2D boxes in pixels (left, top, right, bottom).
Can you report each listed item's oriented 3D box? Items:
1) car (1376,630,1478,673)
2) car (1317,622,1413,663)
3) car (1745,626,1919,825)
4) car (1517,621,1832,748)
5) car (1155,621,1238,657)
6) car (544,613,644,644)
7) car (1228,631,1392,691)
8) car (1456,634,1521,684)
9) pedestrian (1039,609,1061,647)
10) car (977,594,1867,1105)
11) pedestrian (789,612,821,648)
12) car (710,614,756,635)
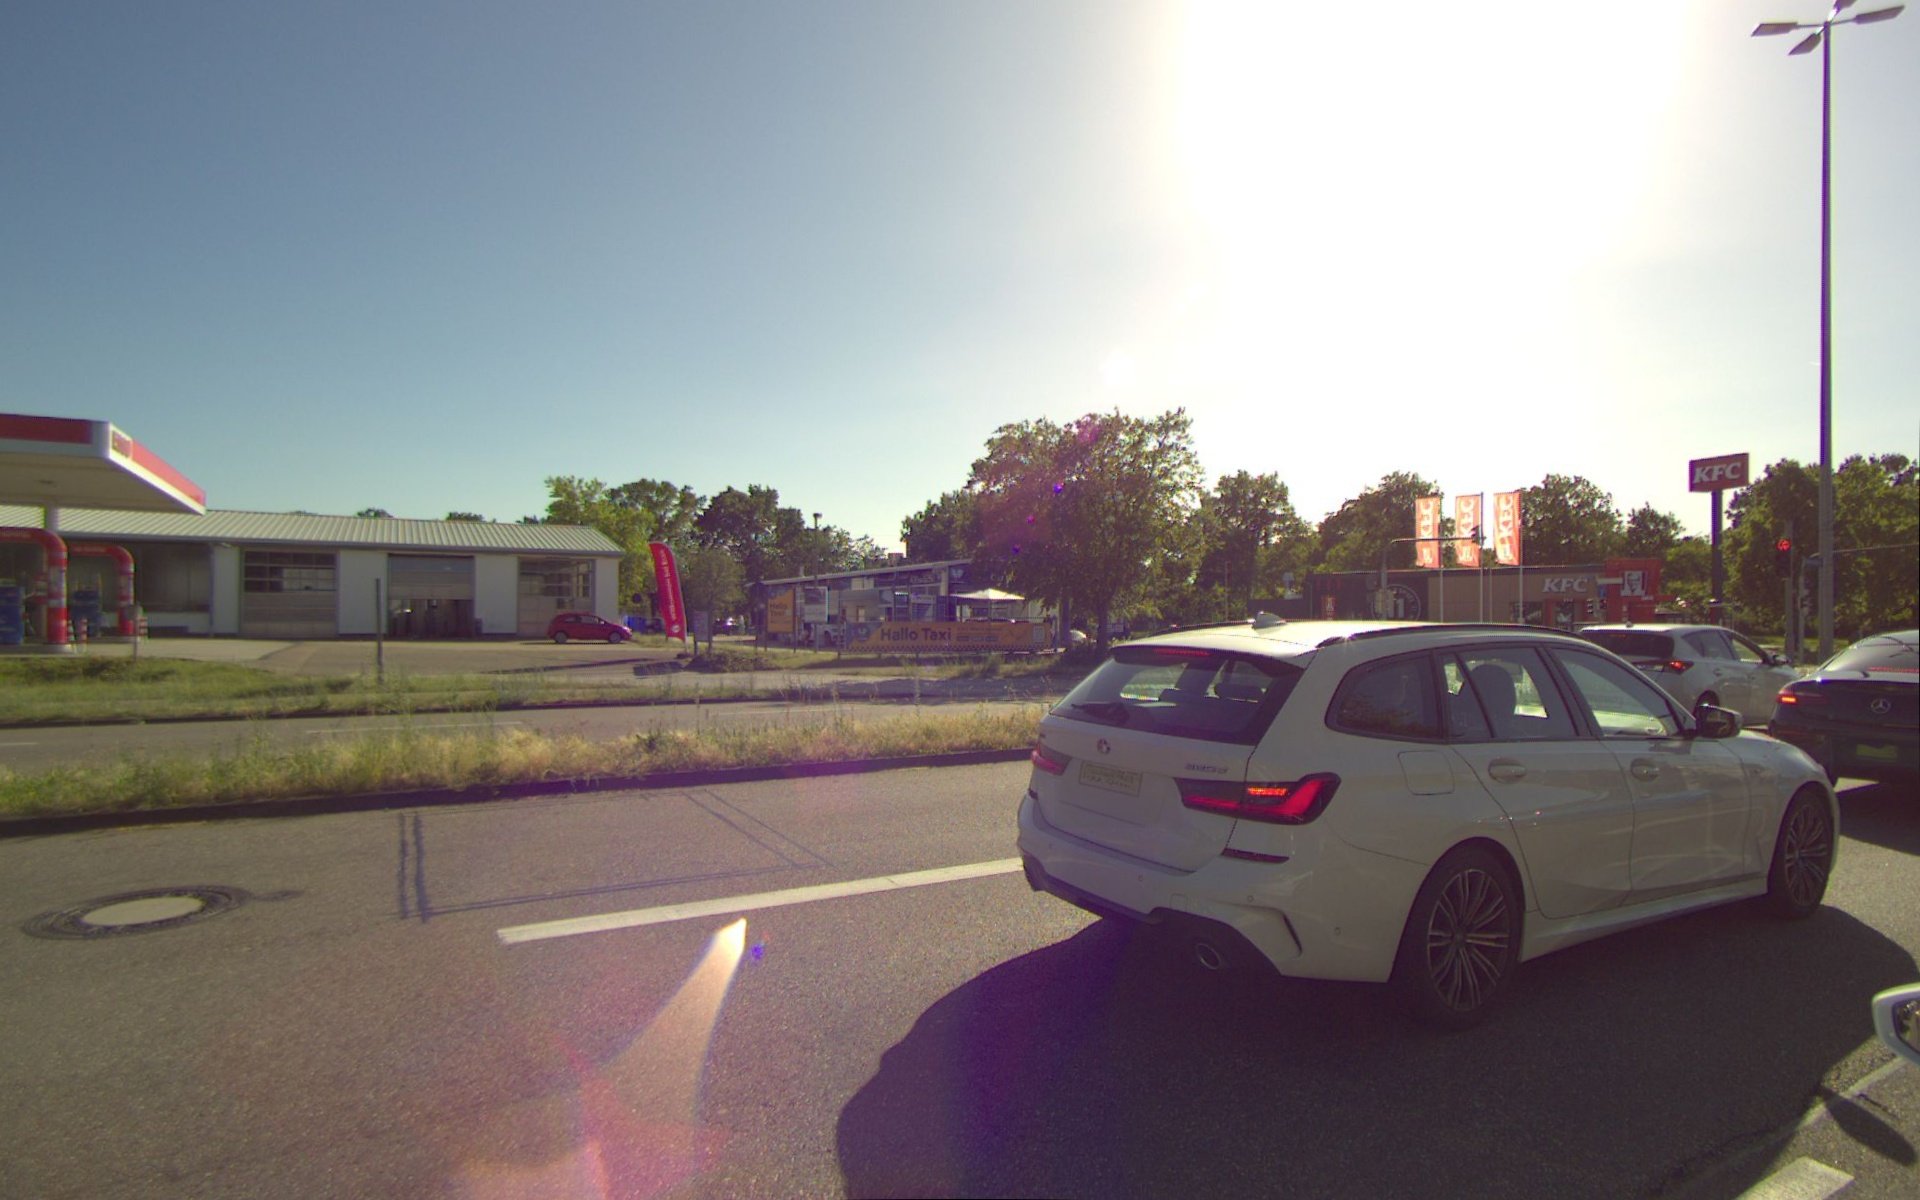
[{"bbox_3d":[21.570,2.357,46.580,1.970,1.817,4.068,1,-1,-21],"label":"car"},{"bbox_3d":[18.570,1.909,46.179,1.735,1.751,3.974,1,-1,-26],"label":"car"},{"bbox_3d":[8.793,0.960,8.621,4.409,1.433,1.760,1,-1,-30],"label":"car"},{"bbox_3d":[9.642,1.027,13.481,4.352,1.448,1.848,1,-1,-30],"label":"car"},{"bbox_3d":[12.955,2.110,55.227,1.978,1.869,4.252,1,-1,-32],"label":"car"},{"bbox_3d":[-18.030,1.413,49.546,4.486,1.458,1.741,1,-1,-26],"label":"car"},{"bbox_3d":[9.005,1.529,25.797,4.002,1.448,1.810,1,-3,-30],"label":"car"},{"bbox_3d":[17.789,1.933,33.899,1.829,1.448,4.730,0,-1,27],"label":"car"},{"bbox_3d":[4.441,1.367,49.568,0.804,1.828,0.951,1,0,-13],"label":"pedestrian"},{"bbox_3d":[2.414,0.791,4.900,4.409,1.529,1.760,1,-1,-30],"label":"car"},{"bbox_3d":[-7.766,1.506,50.353,1.140,1.787,1.096,0,-1,36],"label":"pedestrian"},{"bbox_3d":[-19.942,2.128,88.252,2.085,1.840,4.000,0,-1,20],"label":"car"}]
